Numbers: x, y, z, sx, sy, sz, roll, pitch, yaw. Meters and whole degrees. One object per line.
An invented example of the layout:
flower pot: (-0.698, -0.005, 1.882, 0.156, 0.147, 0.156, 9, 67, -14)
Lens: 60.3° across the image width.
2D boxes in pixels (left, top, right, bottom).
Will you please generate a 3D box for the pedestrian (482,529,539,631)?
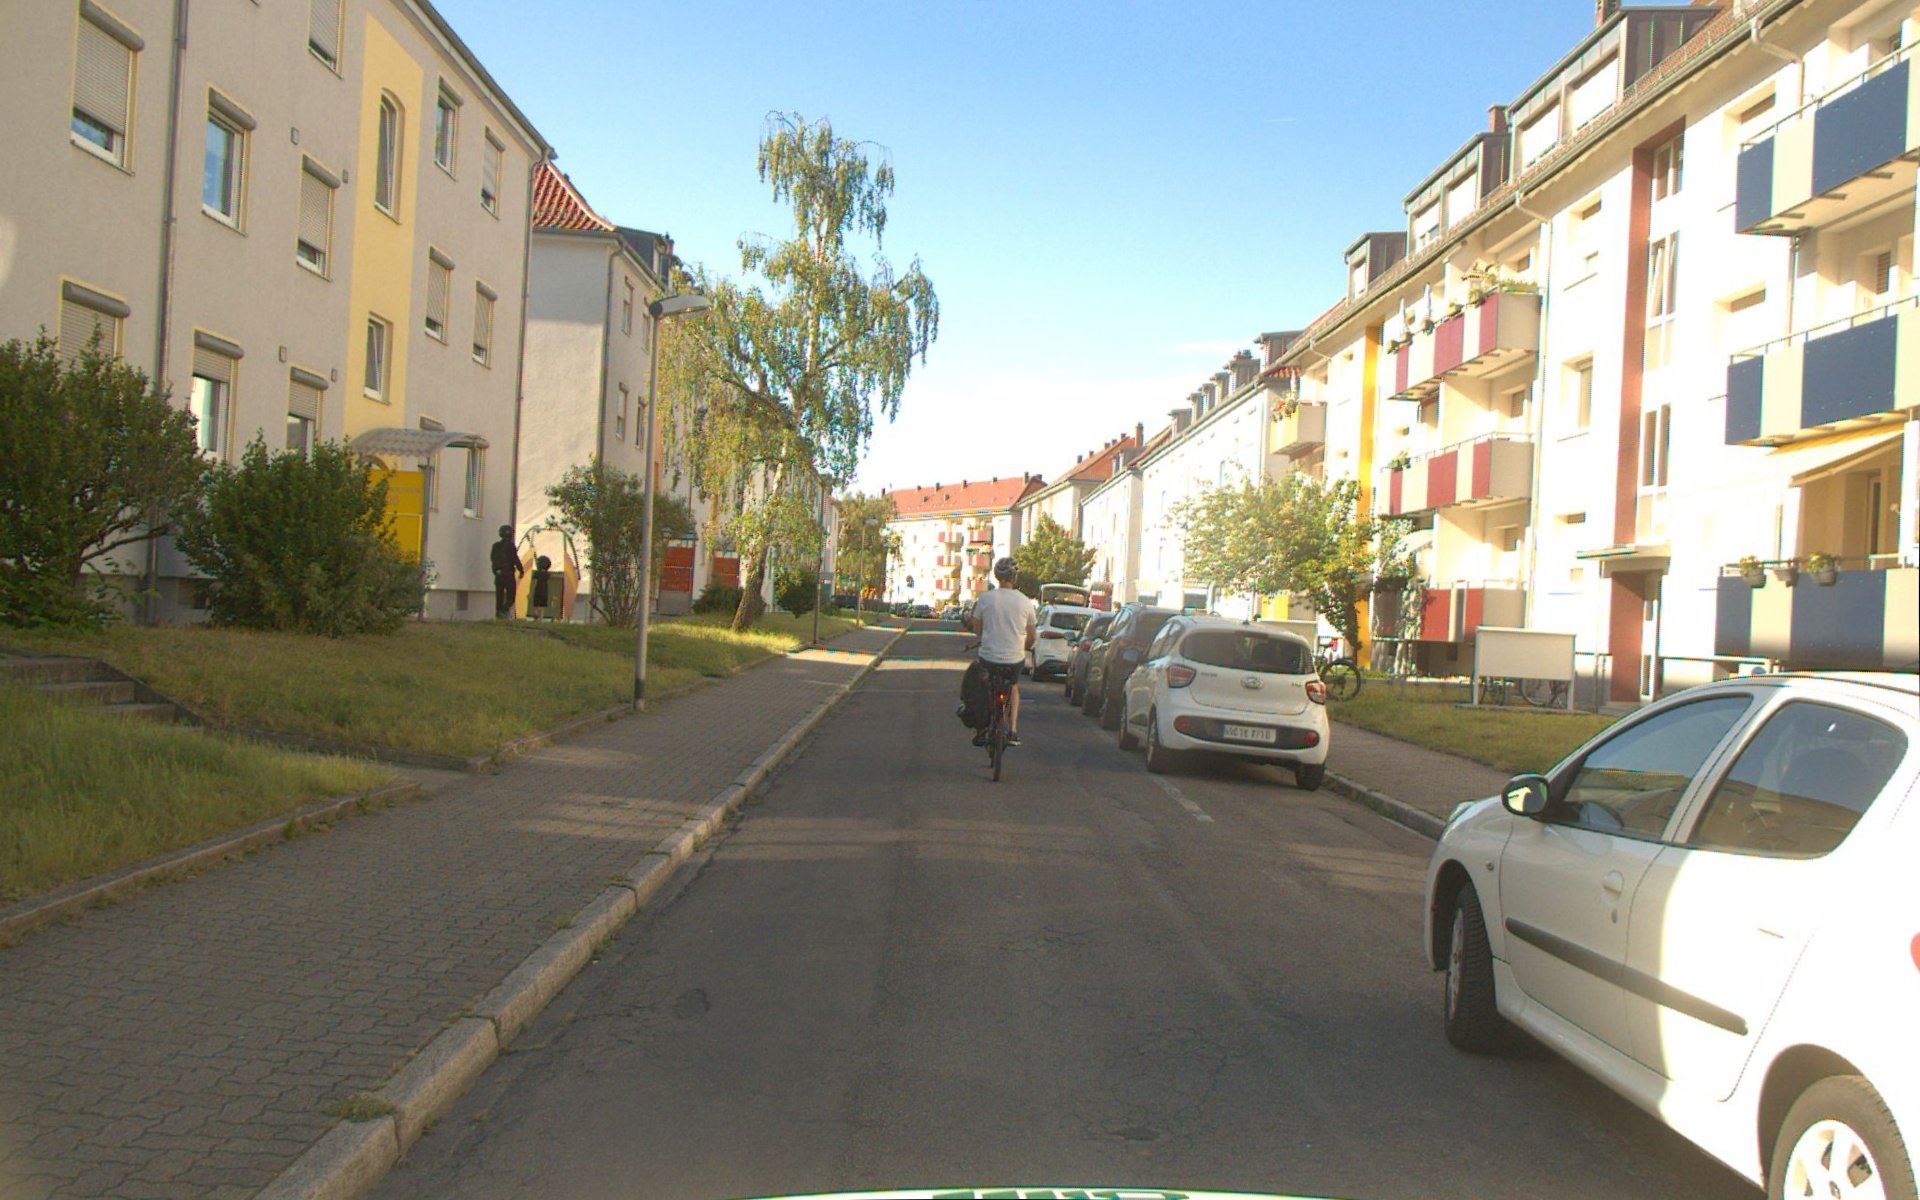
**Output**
pedestrian: (-8.418, -0.364, 30.998, 0.789, 1.855, 0.718, 2, -1, 0)

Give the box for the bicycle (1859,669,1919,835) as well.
bicycle: (7.124, 1.102, 11.598, 0.566, 1.152, 1.872, 1, 0, -2)

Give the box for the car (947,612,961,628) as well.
car: (-0.636, 2.082, 174.130, 1.354, 1.523, 3.075, 2, 0, -3)

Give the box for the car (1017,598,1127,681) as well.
car: (2.296, 0.794, 35.033, 1.737, 1.531, 4.478, 4, 0, -3)

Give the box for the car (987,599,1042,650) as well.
car: (1.975, 0.867, 60.922, 1.747, 1.676, 4.468, 4, 0, 0)

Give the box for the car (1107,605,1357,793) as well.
car: (2.637, 0.904, 16.903, 1.679, 1.535, 3.852, 6, 0, -2)

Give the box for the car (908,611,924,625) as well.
car: (-4.326, 1.760, 161.930, 1.440, 1.358, 3.139, 2, 0, -3)

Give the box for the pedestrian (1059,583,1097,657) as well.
pedestrian: (2.789, 0.476, 39.014, 0.803, 1.717, 0.604, 2, 0, -2)

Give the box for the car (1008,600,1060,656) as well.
car: (2.283, 0.839, 50.751, 1.449, 1.555, 2.942, 5, 0, 3)

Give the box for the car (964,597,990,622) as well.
car: (1.263, 0.721, 124.966, 1.641, 1.769, 3.940, 4, 0, -3)

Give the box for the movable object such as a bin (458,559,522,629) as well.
movable object such as a bin: (-10.175, -0.125, 35.815, 1.062, 1.430, 0.812, 3, 0, -1)

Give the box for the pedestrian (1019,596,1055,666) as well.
pedestrian: (1.800, 0.722, 38.782, 0.724, 1.602, 0.879, 2, 0, -1)

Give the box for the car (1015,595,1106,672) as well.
car: (2.439, 0.791, 41.200, 1.953, 1.640, 4.996, 5, 0, 1)

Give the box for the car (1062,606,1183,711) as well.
car: (2.604, 0.905, 27.258, 1.613, 1.474, 4.061, 5, 0, 2)

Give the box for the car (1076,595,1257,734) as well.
car: (2.632, 0.780, 22.018, 1.688, 1.606, 4.351, 2, 0, -2)

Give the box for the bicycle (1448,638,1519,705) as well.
bicycle: (9.175, 1.231, 29.060, 0.510, 1.067, 2.288, 1, 0, -1)

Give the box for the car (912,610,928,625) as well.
car: (-3.809, 1.649, 157.267, 1.440, 1.358, 3.139, 4, 0, -3)

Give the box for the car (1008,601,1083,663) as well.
car: (2.345, 0.858, 46.277, 1.660, 1.517, 3.983, 5, 0, -2)

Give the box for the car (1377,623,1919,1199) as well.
car: (2.681, 0.887, 4.874, 1.657, 1.443, 4.096, 5, 0, -2)

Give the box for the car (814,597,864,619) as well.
car: (-10.148, 0.677, 138.714, 4.149, 1.667, 1.581, 3, 0, -5)

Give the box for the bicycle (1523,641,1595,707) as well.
bicycle: (10.465, 1.274, 28.958, 0.510, 1.055, 1.975, 2, 0, -1)

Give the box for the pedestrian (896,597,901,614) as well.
pedestrian: (-5.691, 0.534, 153.583, 0.425, 1.602, 0.543, 2, 0, -1)

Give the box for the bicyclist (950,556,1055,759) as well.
bicyclist: (0.356, 0.482, 14.326, 0.792, 1.672, 0.898, 2, 0, -3)

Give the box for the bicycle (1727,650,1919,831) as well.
bicycle: (6.418, 0.994, 12.329, 0.533, 1.191, 1.873, 1, 0, 0)

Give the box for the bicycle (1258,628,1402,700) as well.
bicycle: (6.566, 1.128, 29.440, 2.373, 1.149, 0.880, 2, 0, 5)

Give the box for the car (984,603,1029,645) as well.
car: (1.826, 0.923, 66.016, 1.608, 1.524, 4.156, 3, 0, 0)

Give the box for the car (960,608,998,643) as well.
car: (1.029, 1.381, 90.301, 1.824, 1.697, 4.126, 5, 0, -1)

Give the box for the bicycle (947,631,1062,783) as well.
bicycle: (0.348, 0.878, 14.269, 0.792, 1.148, 2.100, 2, 0, -3)

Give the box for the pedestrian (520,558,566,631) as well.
pedestrian: (-7.934, -0.103, 31.490, 0.672, 1.340, 0.575, 2, -1, 0)

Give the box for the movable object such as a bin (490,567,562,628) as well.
movable object such as a bin: (-10.622, -0.053, 40.531, 1.360, 1.359, 1.228, 5, 0, -1)
